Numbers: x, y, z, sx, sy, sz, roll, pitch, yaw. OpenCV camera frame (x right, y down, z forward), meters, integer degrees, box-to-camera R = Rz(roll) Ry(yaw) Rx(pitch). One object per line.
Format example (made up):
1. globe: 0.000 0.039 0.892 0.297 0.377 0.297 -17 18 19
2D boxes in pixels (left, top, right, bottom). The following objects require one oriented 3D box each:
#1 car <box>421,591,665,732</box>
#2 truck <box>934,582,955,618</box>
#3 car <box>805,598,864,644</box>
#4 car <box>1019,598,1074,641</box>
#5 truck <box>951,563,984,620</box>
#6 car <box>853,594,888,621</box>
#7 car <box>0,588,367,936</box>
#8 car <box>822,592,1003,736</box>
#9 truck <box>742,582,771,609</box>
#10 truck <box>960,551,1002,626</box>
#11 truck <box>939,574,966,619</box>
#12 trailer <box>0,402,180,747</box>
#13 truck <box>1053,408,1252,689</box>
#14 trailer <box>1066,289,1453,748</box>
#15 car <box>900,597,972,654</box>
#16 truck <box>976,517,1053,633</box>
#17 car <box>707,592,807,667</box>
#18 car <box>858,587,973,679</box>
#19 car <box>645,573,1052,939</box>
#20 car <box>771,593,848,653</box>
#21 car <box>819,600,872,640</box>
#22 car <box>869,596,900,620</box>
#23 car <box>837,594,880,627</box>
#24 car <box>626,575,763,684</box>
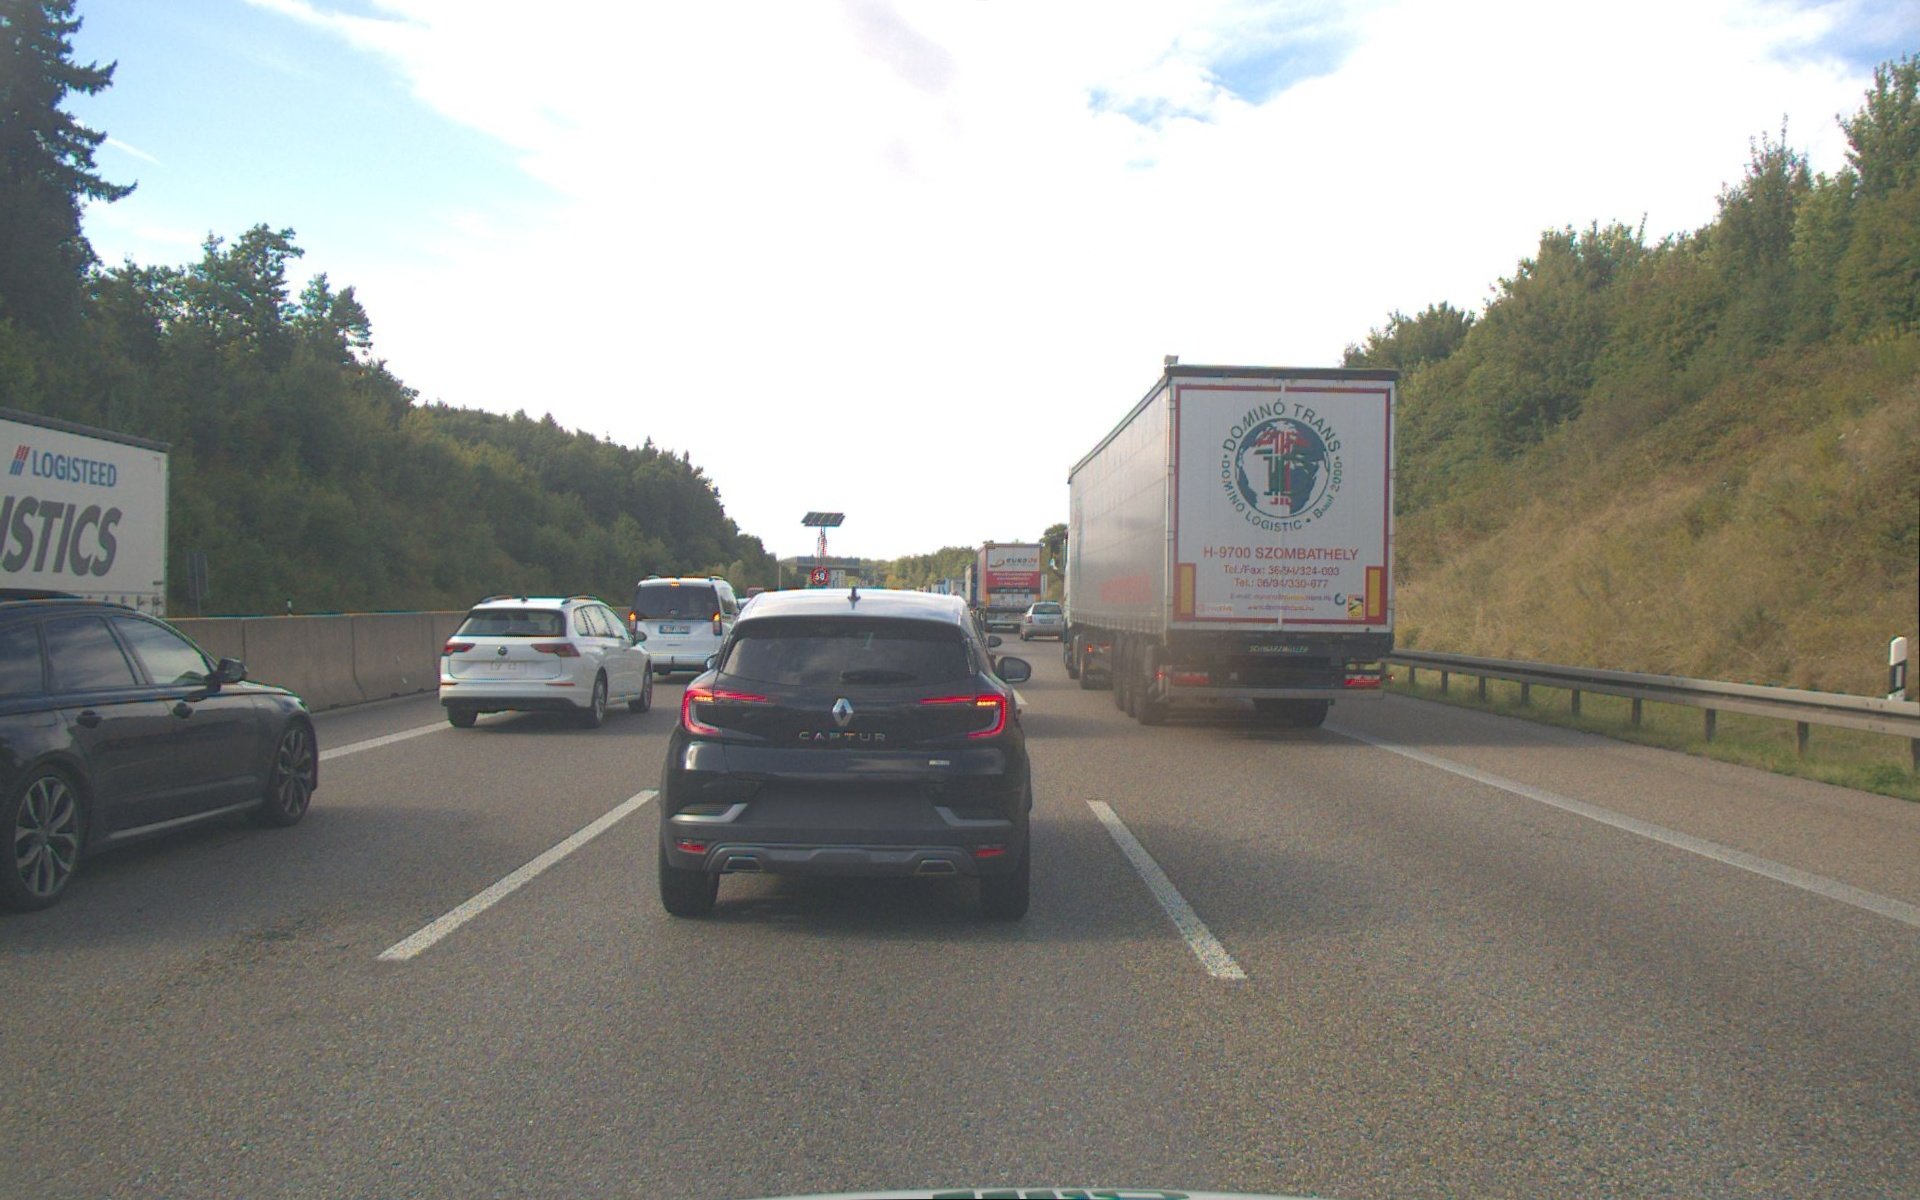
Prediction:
1. car: -4.844 0.675 19.841 1.767 1.486 4.308 1 0 1
2. truck: -2.429 0.096 264.185 3.101 5.601 12.736 1 -1 0
3. car: -4.763 0.791 63.277 1.953 1.641 4.000 1 0 0
4. car: 3.257 0.728 63.100 1.768 1.559 3.924 1 0 -1
5. truck: 0.844 -0.831 171.211 3.101 5.601 12.739 1 -1 2
6. car: -5.530 0.462 102.319 1.953 1.641 4.000 1 0 0
7. car: -5.017 0.683 9.066 1.805 1.481 4.747 1 0 0
8. car: -0.515 0.720 20.091 1.953 1.540 4.000 1 0 0
9. truck: -22.431 -0.484 182.633 2.373 2.905 6.429 1 0 -1
10. truck: 1.614 -0.808 129.998 3.101 5.601 12.736 1 -1 0
11. truck: -0.923 -0.349 204.255 3.101 5.250 12.736 1 0 0
12. trailer: -15.868 -0.403 23.628 3.025 5.162 13.831 1 0 -1
13. truck: 3.444 -0.874 31.143 2.936 4.749 5.938 1 0 -1
14. trailer: 3.556 -0.858 23.881 2.941 4.742 13.287 1 0 -1
15. car: -0.657 0.723 47.424 1.953 1.540 4.000 1 0 0
16. truck: 2.502 -1.062 80.303 3.296 5.132 12.736 1 0 0
17. car: -4.762 0.684 39.296 1.817 1.669 3.925 1 -1 0
18. car: -0.760 0.586 30.284 1.953 1.540 4.000 1 0 0
19. car: -0.424 0.684 9.215 1.767 1.579 4.001 0 0 2
20. car: -4.596 0.697 50.970 1.953 1.752 4.000 1 -1 0
21. car: -4.856 0.848 70.810 1.953 1.641 4.000 1 0 0
22. car: -5.247 0.563 115.795 1.953 1.641 4.000 1 0 0
23. car: -5.186 0.544 85.222 1.953 1.641 4.000 1 0 0
24. car: -4.812 0.521 30.517 1.873 1.821 4.416 1 0 -1
